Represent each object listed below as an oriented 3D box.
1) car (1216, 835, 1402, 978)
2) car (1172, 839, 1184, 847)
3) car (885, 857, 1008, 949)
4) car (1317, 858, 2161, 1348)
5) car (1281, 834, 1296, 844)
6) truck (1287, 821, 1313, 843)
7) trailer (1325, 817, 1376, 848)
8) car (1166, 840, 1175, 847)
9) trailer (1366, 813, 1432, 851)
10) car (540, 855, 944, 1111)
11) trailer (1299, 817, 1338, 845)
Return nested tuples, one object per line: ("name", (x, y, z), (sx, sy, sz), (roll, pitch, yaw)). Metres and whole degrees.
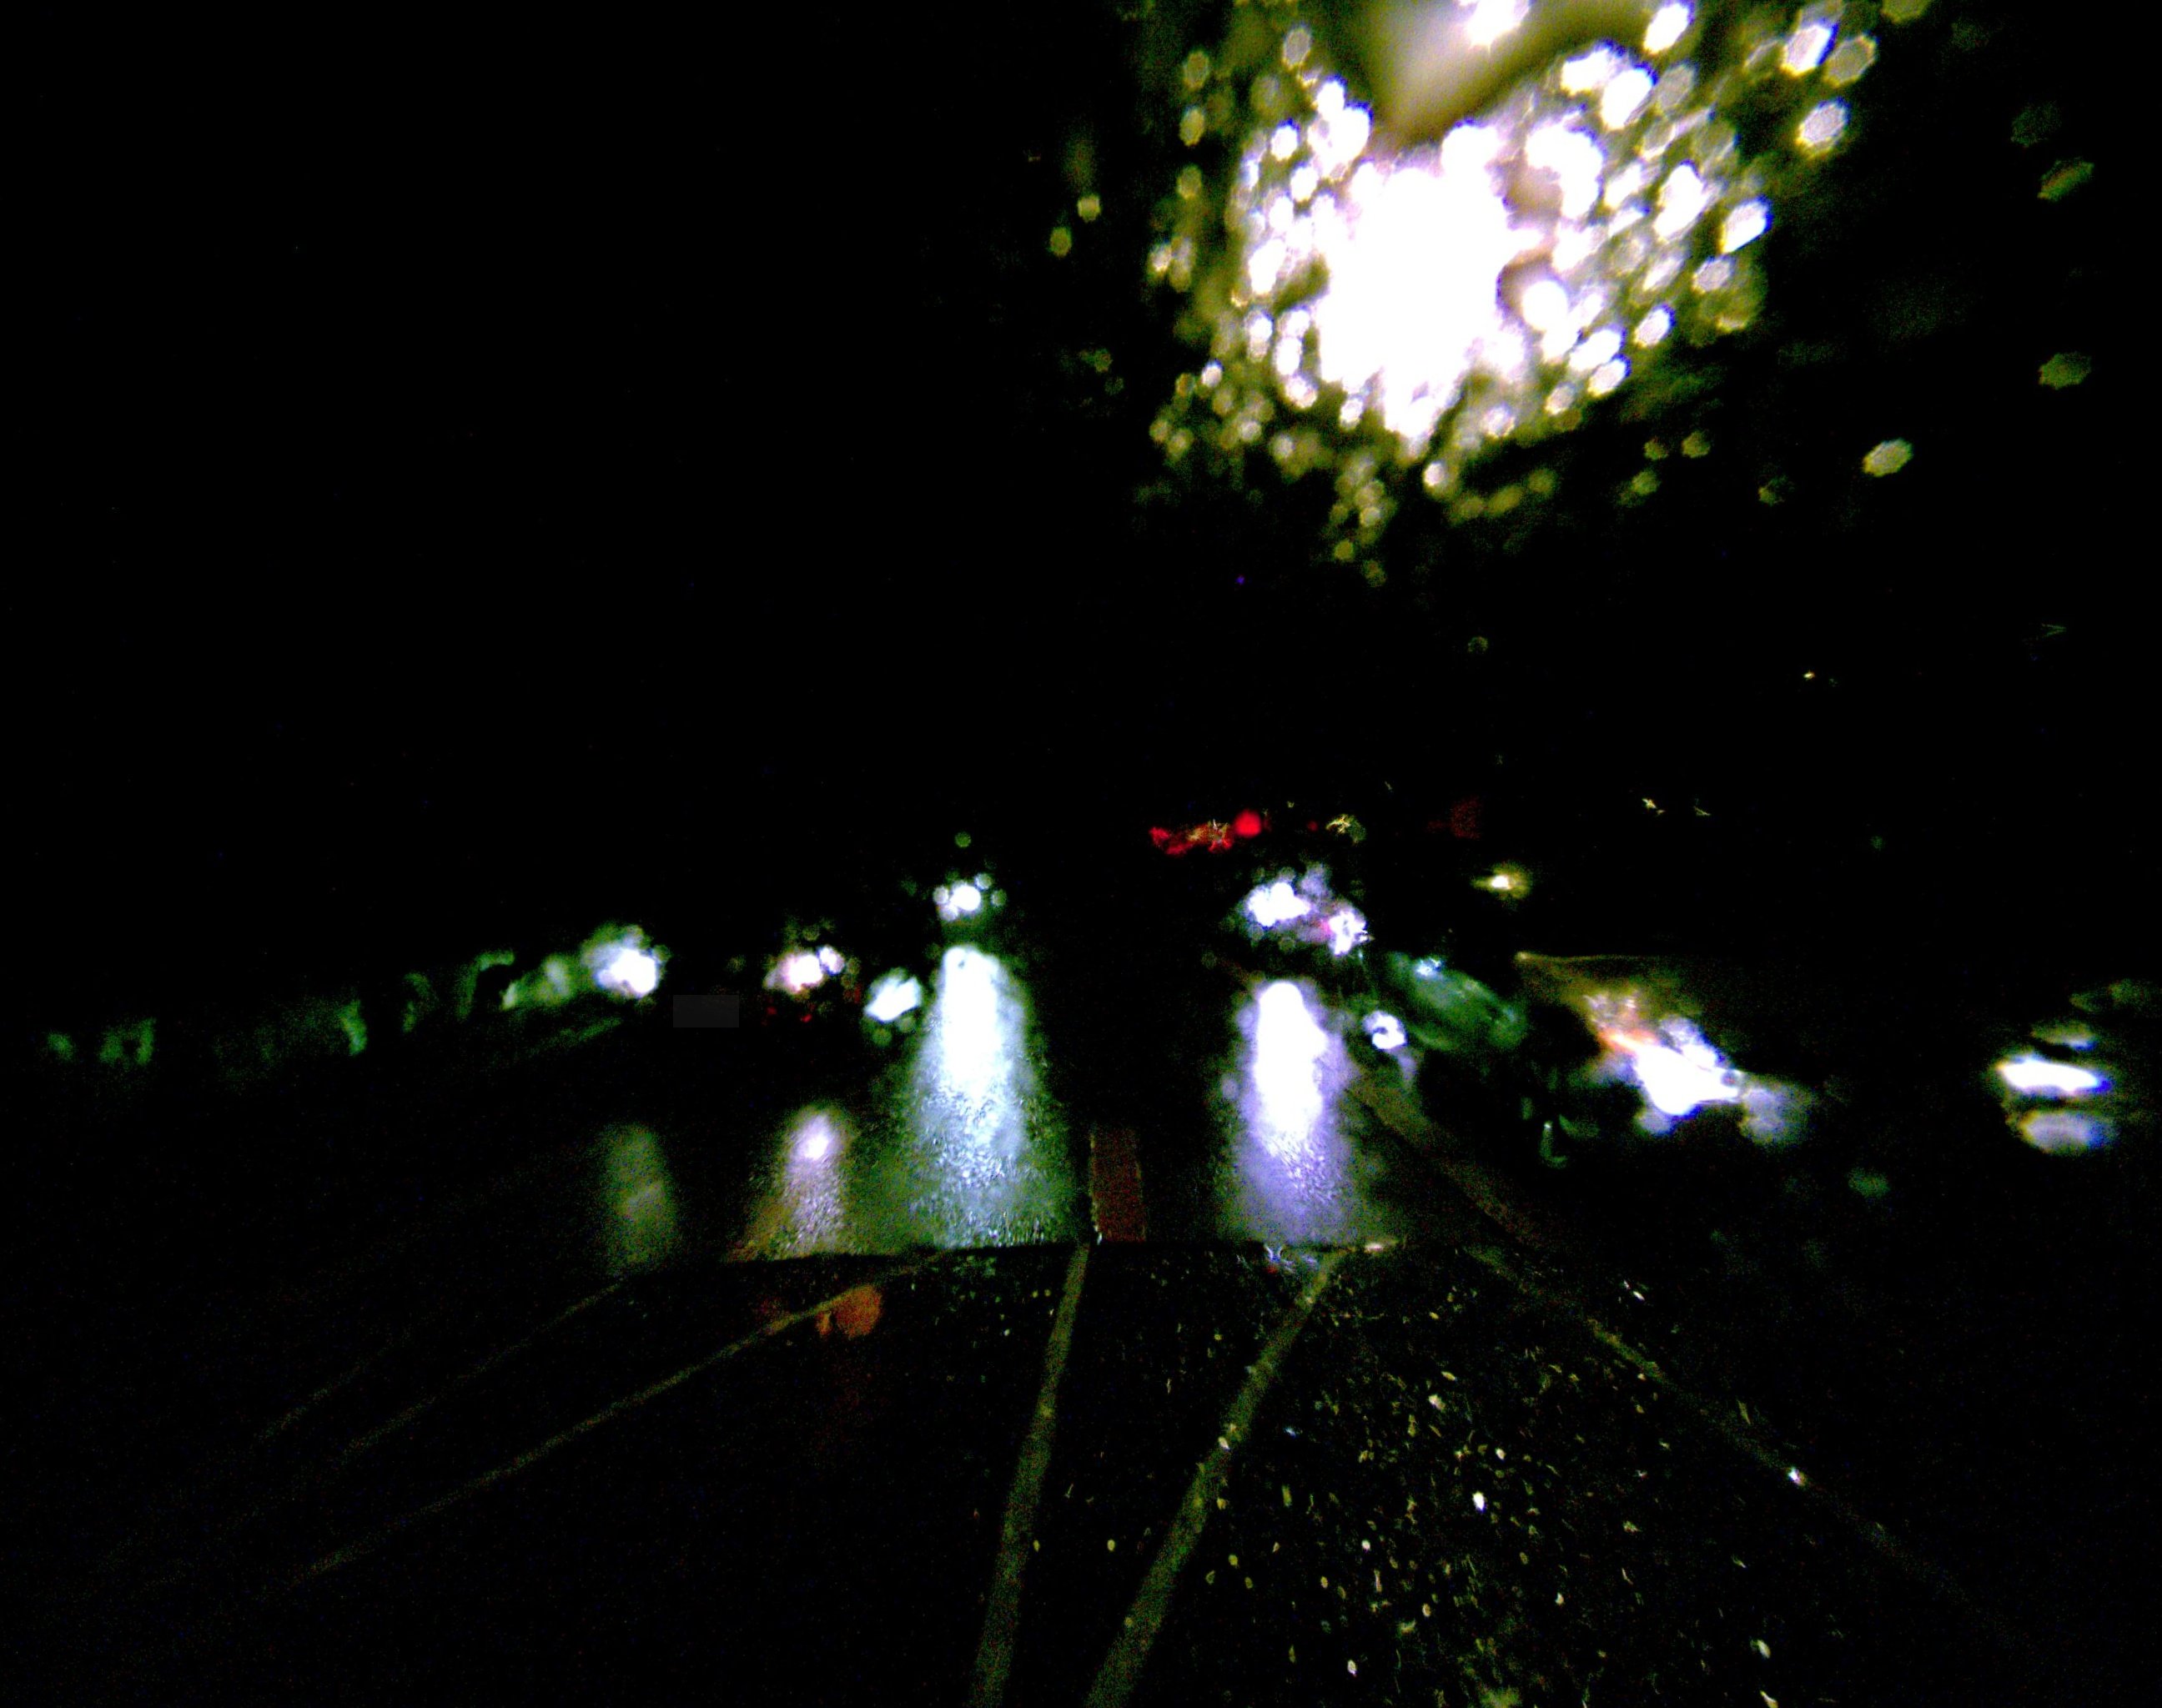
("car", (3.288, 0.653, 11.866), (1.788, 1.772, 4.437), (-2, 0, 4))
("car", (20.151, -2.224, 158.030), (1.765, 1.632, 4.652), (-3, 1, 2))
("car", (-2.793, 0.956, 16.808), (1.788, 1.638, 4.436), (-3, 0, 1))
("car", (2.981, 0.823, 4.655), (1.788, 1.502, 4.436), (-1, 1, 2))
("car", (37.794, -2.677, 138.708), (1.790, 1.684, 4.219), (-4, 0, 4))
("truck", (49.577, -5.008, 172.157), (3.446, 4.584, 10.213), (-6, 1, 5))
("trailer", (45.581, -3.631, 129.124), (3.980, 4.584, 15.516), (-6, 1, 5))
("car", (21.198, -2.548, 179.920), (1.806, 1.579, 4.031), (-3, 1, 3))
("trailer", (44.502, -3.091, 107.124), (3.980, 4.584, 14.248), (-6, 1, 5))
("car", (-2.732, 0.905, 7.366), (1.790, 1.684, 4.219), (-2, 0, 3))
("trailer", (48.267, -4.756, 155.074), (3.980, 4.984, 14.836), (-6, 1, 5))
